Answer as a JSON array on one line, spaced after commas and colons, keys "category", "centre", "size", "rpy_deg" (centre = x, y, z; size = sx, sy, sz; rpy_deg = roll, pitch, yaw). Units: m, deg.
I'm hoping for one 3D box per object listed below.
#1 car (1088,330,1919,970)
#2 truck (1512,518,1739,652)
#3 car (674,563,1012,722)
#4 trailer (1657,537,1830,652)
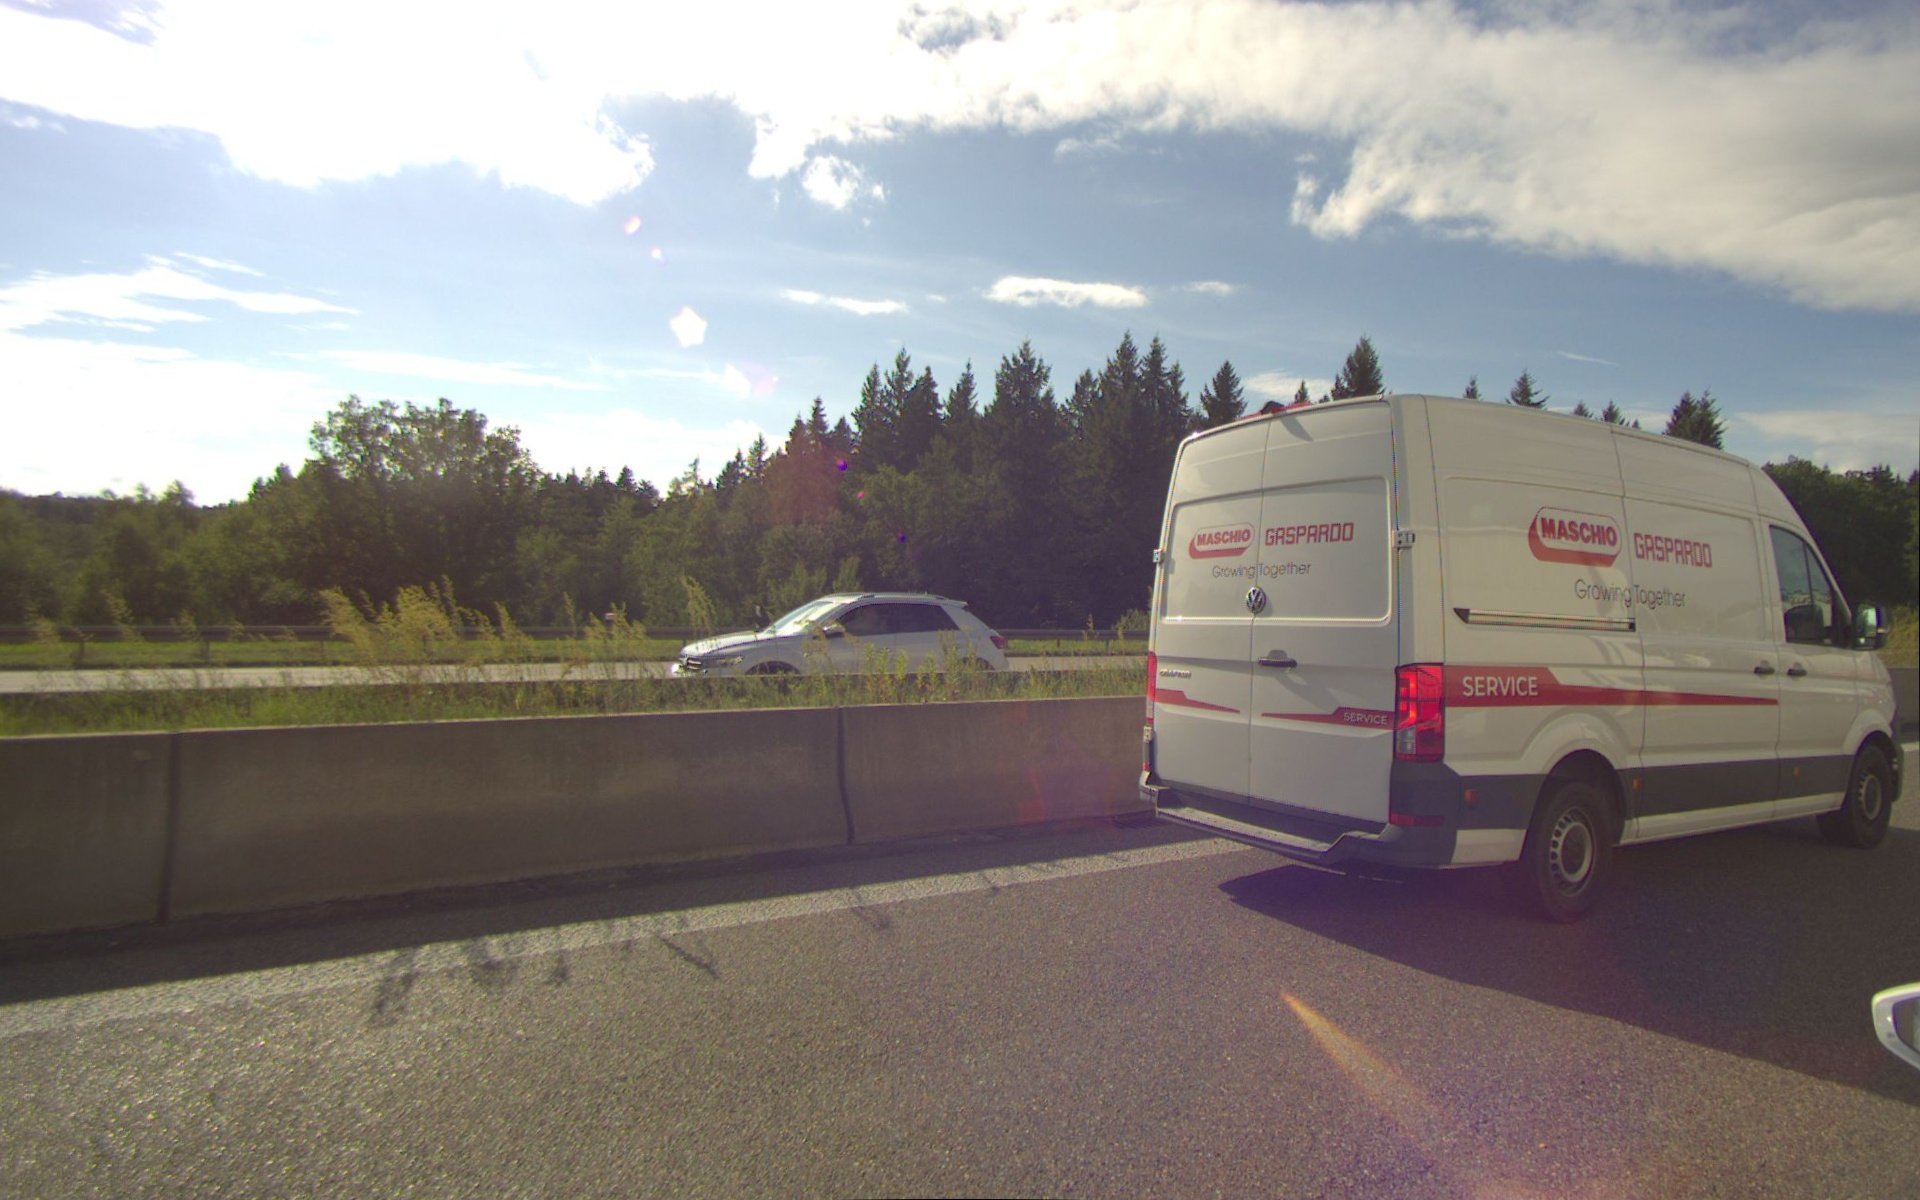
[{"category": "car", "centre": [3.900, 0.249, 6.517], "size": [6.106, 2.633, 2.006], "rpy_deg": [1, 0, -29]}, {"category": "truck", "centre": [24.060, -0.349, 36.040], "size": [10.227, 4.300, 2.697], "rpy_deg": [2, -1, -31]}, {"category": "car", "centre": [-1.406, 0.480, 12.326], "size": [3.722, 1.646, 1.662], "rpy_deg": [2, 3, -30]}, {"category": "trailer", "centre": [32.028, -0.093, 40.941], "size": [8.455, 4.300, 2.711], "rpy_deg": [2, -1, -31]}]
